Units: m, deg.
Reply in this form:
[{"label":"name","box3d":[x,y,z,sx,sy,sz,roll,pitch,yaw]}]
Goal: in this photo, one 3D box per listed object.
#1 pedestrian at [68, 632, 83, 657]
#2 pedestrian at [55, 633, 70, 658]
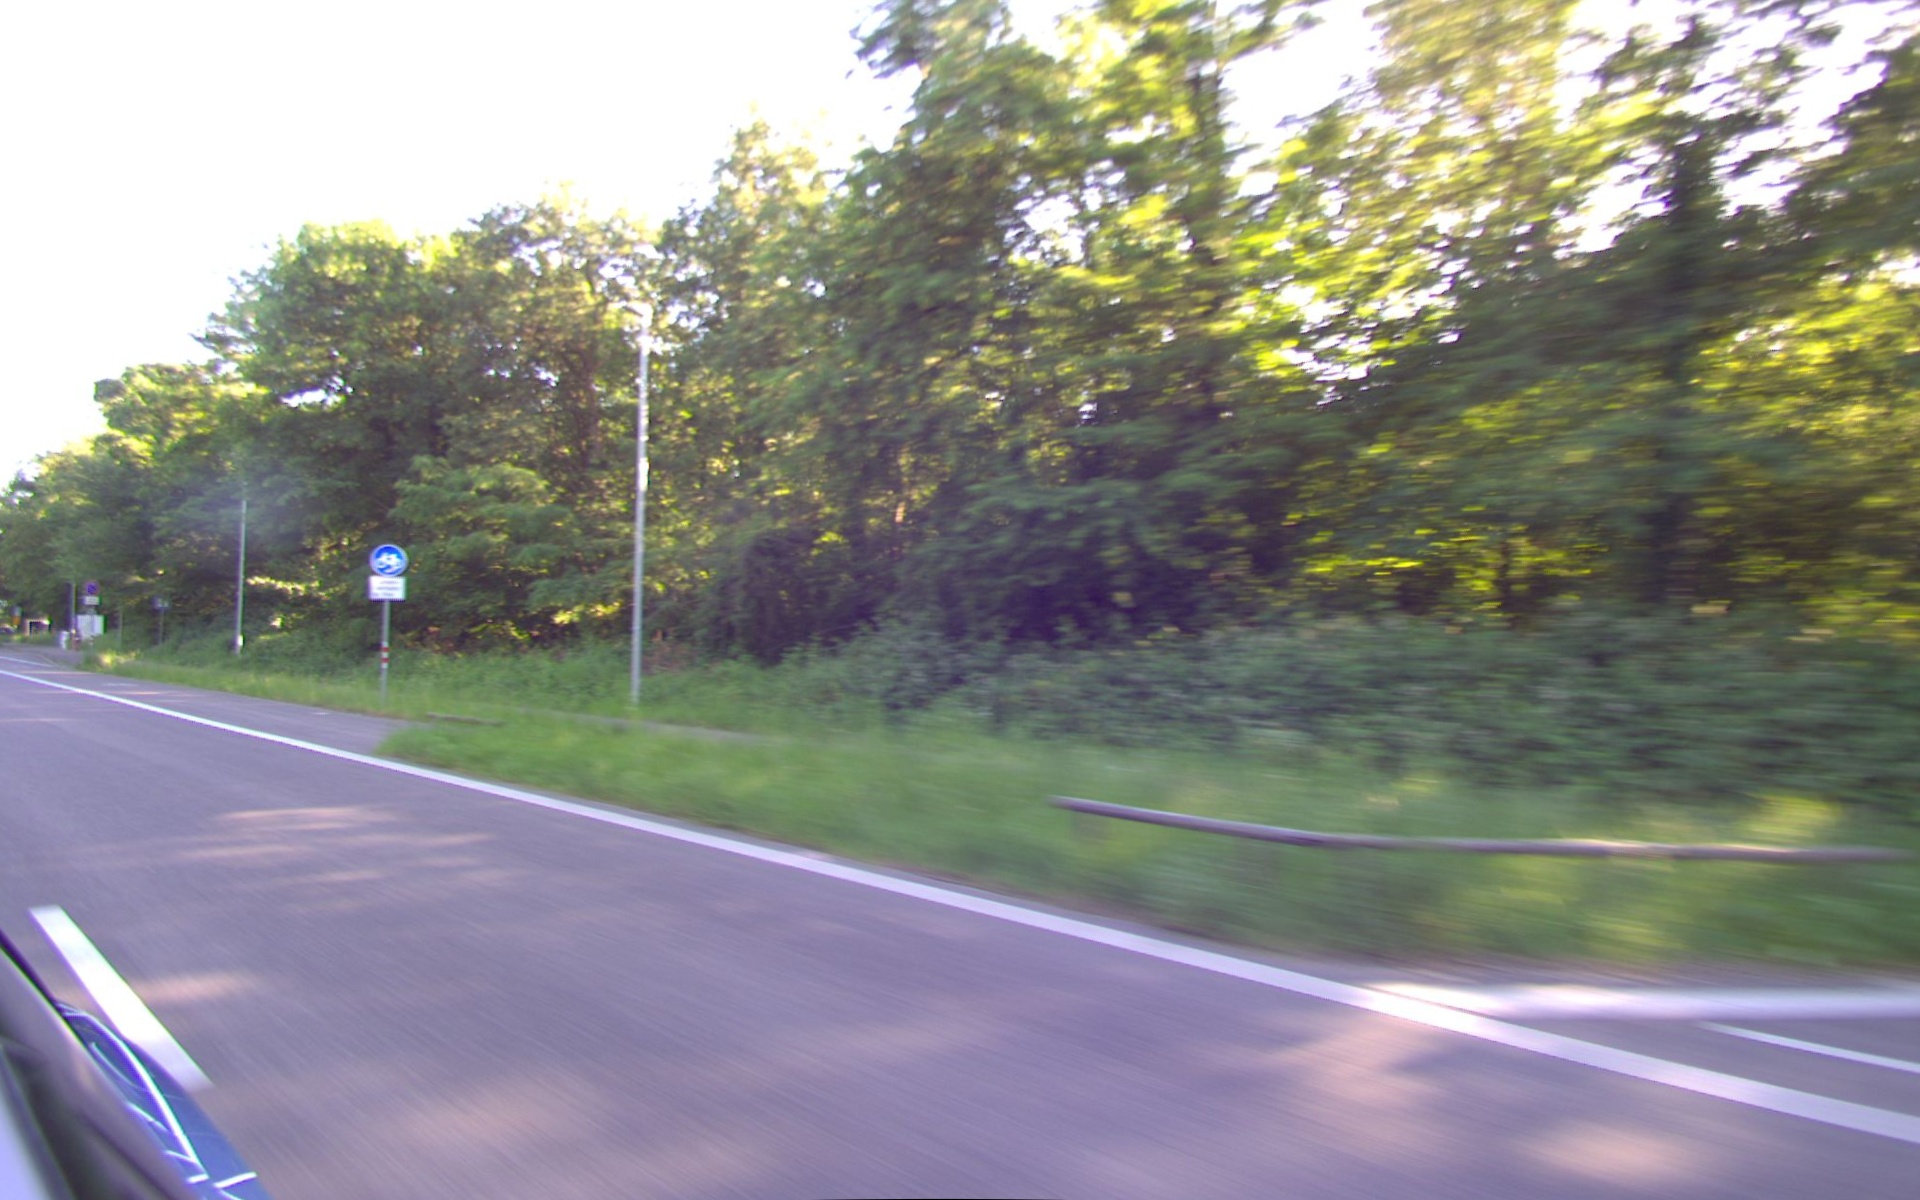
[{"label":"pedestrian","box3d":[-60.242,3.026,68.928,0.667,1.666,0.790,2,-3,-45]},{"label":"pedestrian","box3d":[-60.734,3.095,68.455,0.667,1.666,0.790,2,-3,-45]}]
